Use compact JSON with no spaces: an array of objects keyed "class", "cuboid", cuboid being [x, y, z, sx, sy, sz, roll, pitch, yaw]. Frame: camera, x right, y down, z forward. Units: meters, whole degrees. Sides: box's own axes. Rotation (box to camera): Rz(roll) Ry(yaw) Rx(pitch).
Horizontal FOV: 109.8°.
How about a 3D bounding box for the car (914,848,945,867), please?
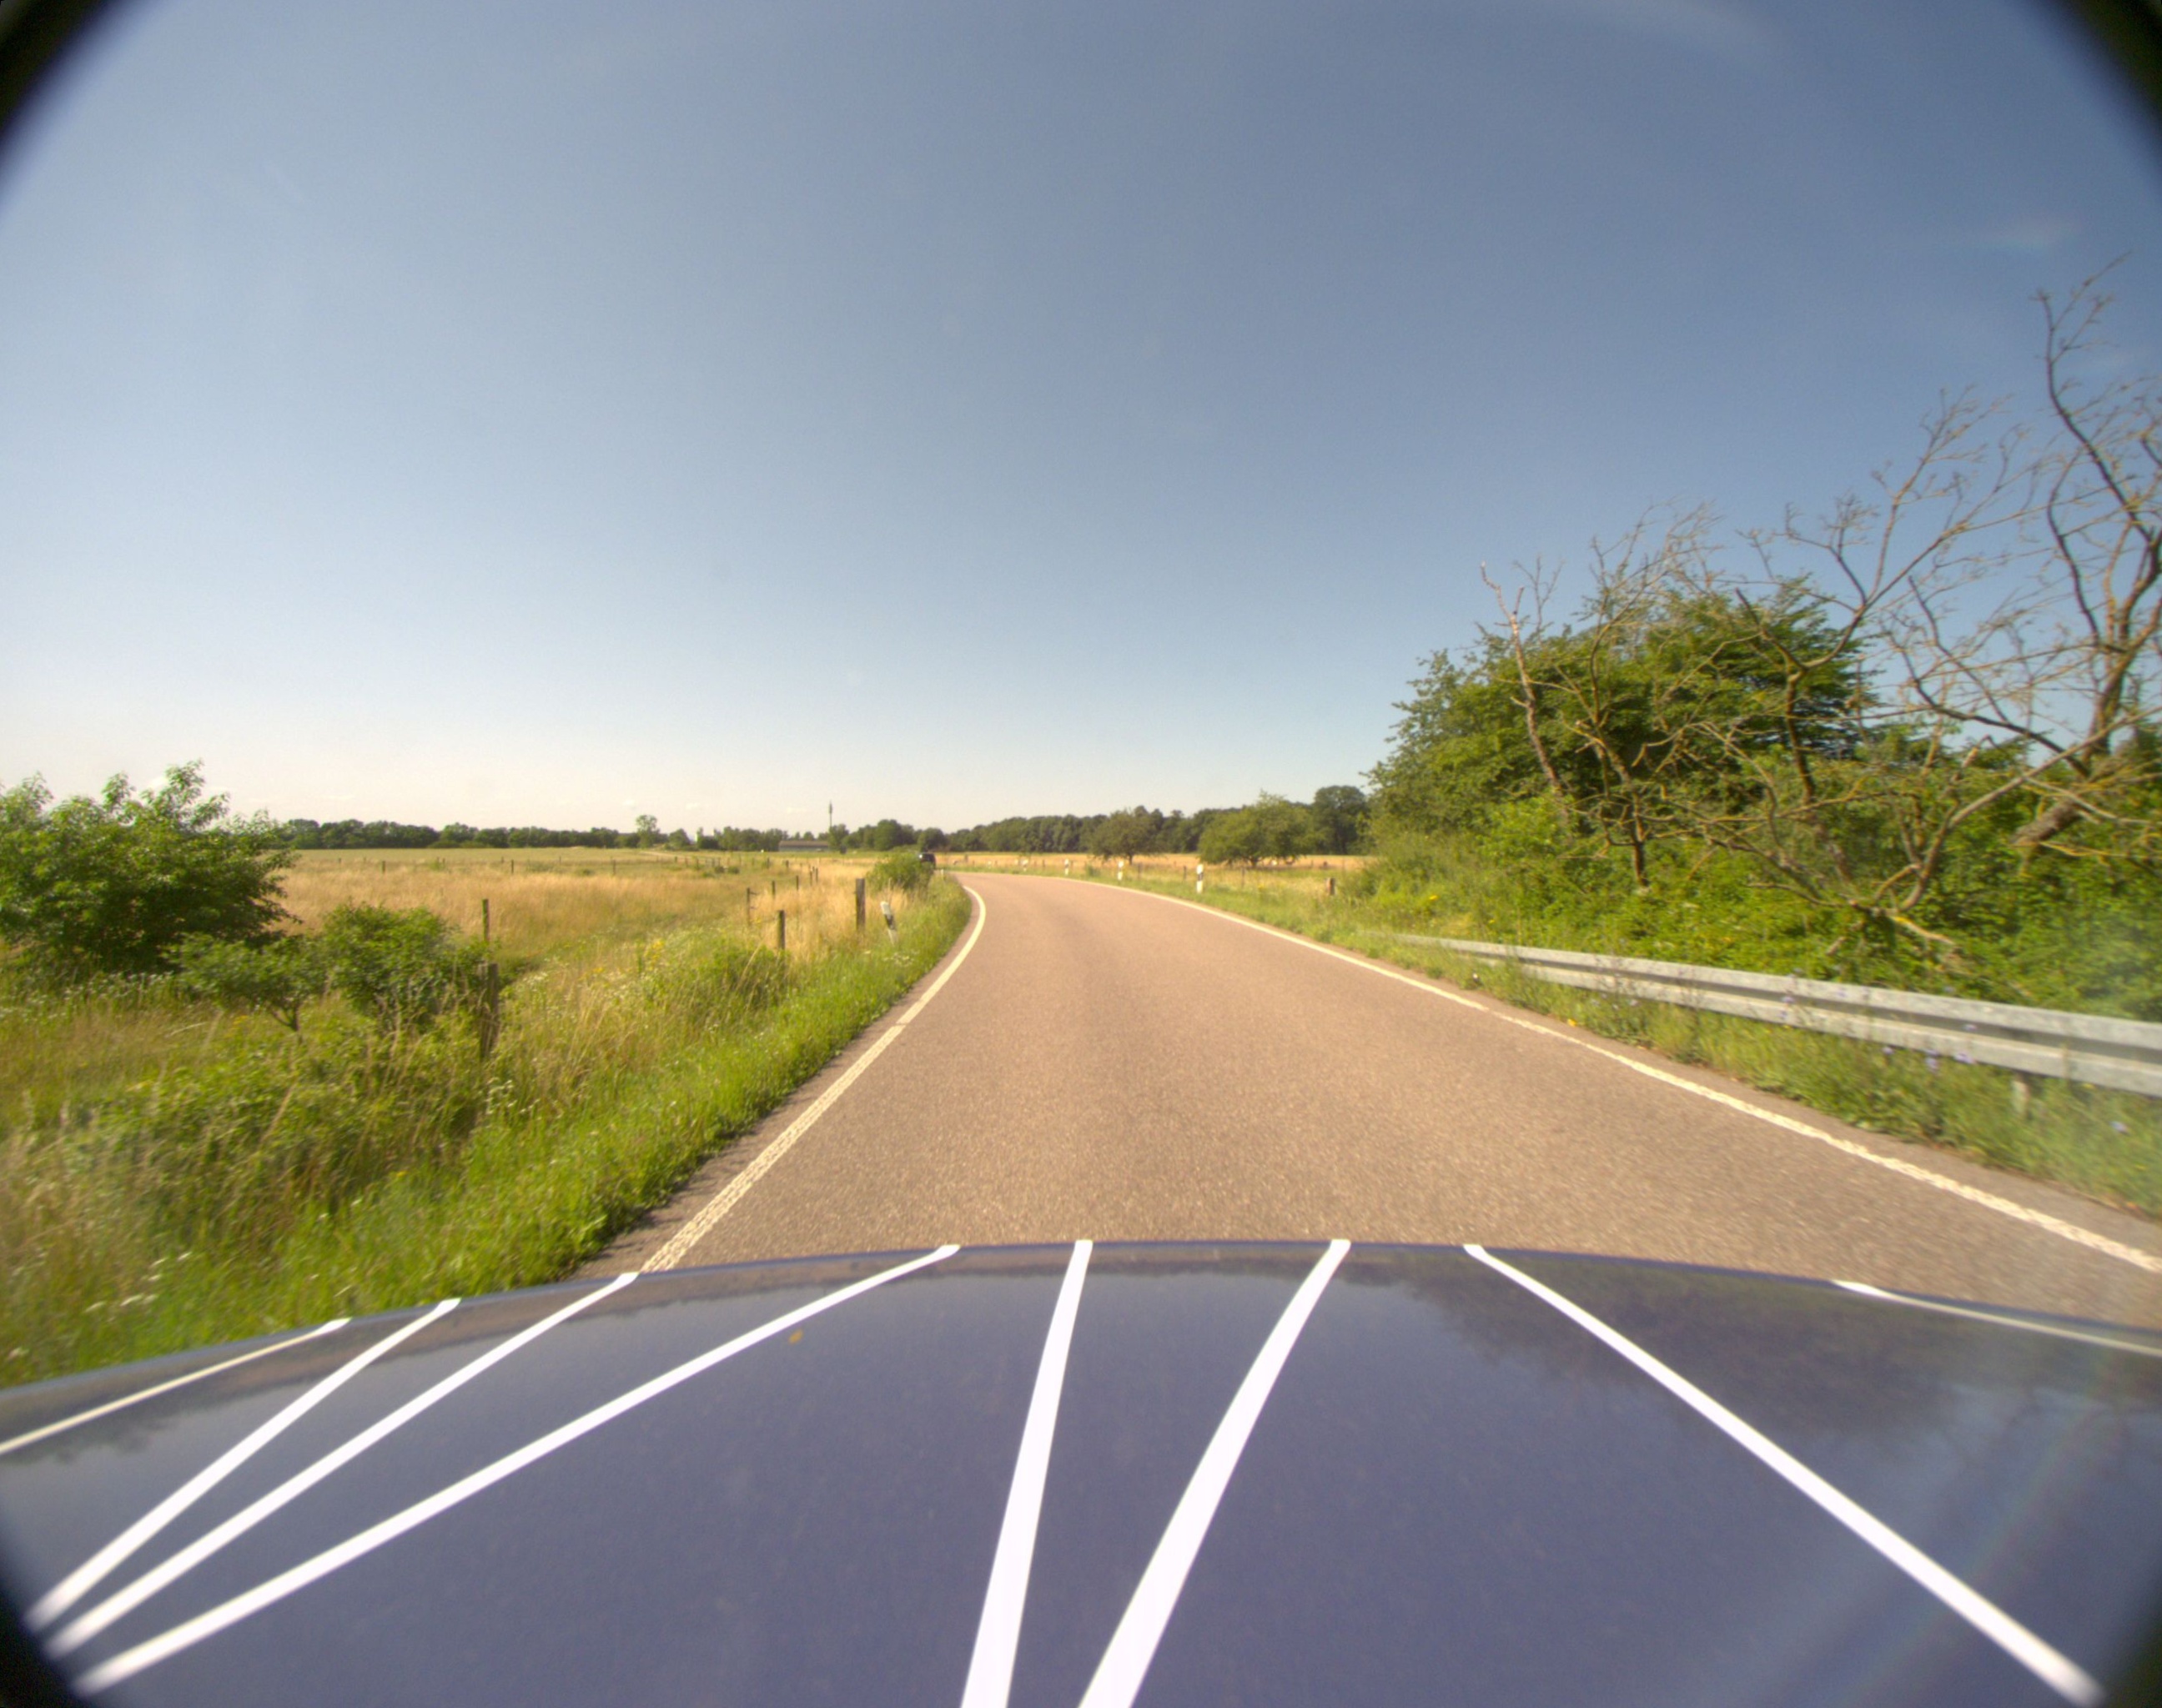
[{"class":"car","cuboid":[-14.343,0.344,71.822,1.792,1.622,4.152,1,-2,-27]}]
